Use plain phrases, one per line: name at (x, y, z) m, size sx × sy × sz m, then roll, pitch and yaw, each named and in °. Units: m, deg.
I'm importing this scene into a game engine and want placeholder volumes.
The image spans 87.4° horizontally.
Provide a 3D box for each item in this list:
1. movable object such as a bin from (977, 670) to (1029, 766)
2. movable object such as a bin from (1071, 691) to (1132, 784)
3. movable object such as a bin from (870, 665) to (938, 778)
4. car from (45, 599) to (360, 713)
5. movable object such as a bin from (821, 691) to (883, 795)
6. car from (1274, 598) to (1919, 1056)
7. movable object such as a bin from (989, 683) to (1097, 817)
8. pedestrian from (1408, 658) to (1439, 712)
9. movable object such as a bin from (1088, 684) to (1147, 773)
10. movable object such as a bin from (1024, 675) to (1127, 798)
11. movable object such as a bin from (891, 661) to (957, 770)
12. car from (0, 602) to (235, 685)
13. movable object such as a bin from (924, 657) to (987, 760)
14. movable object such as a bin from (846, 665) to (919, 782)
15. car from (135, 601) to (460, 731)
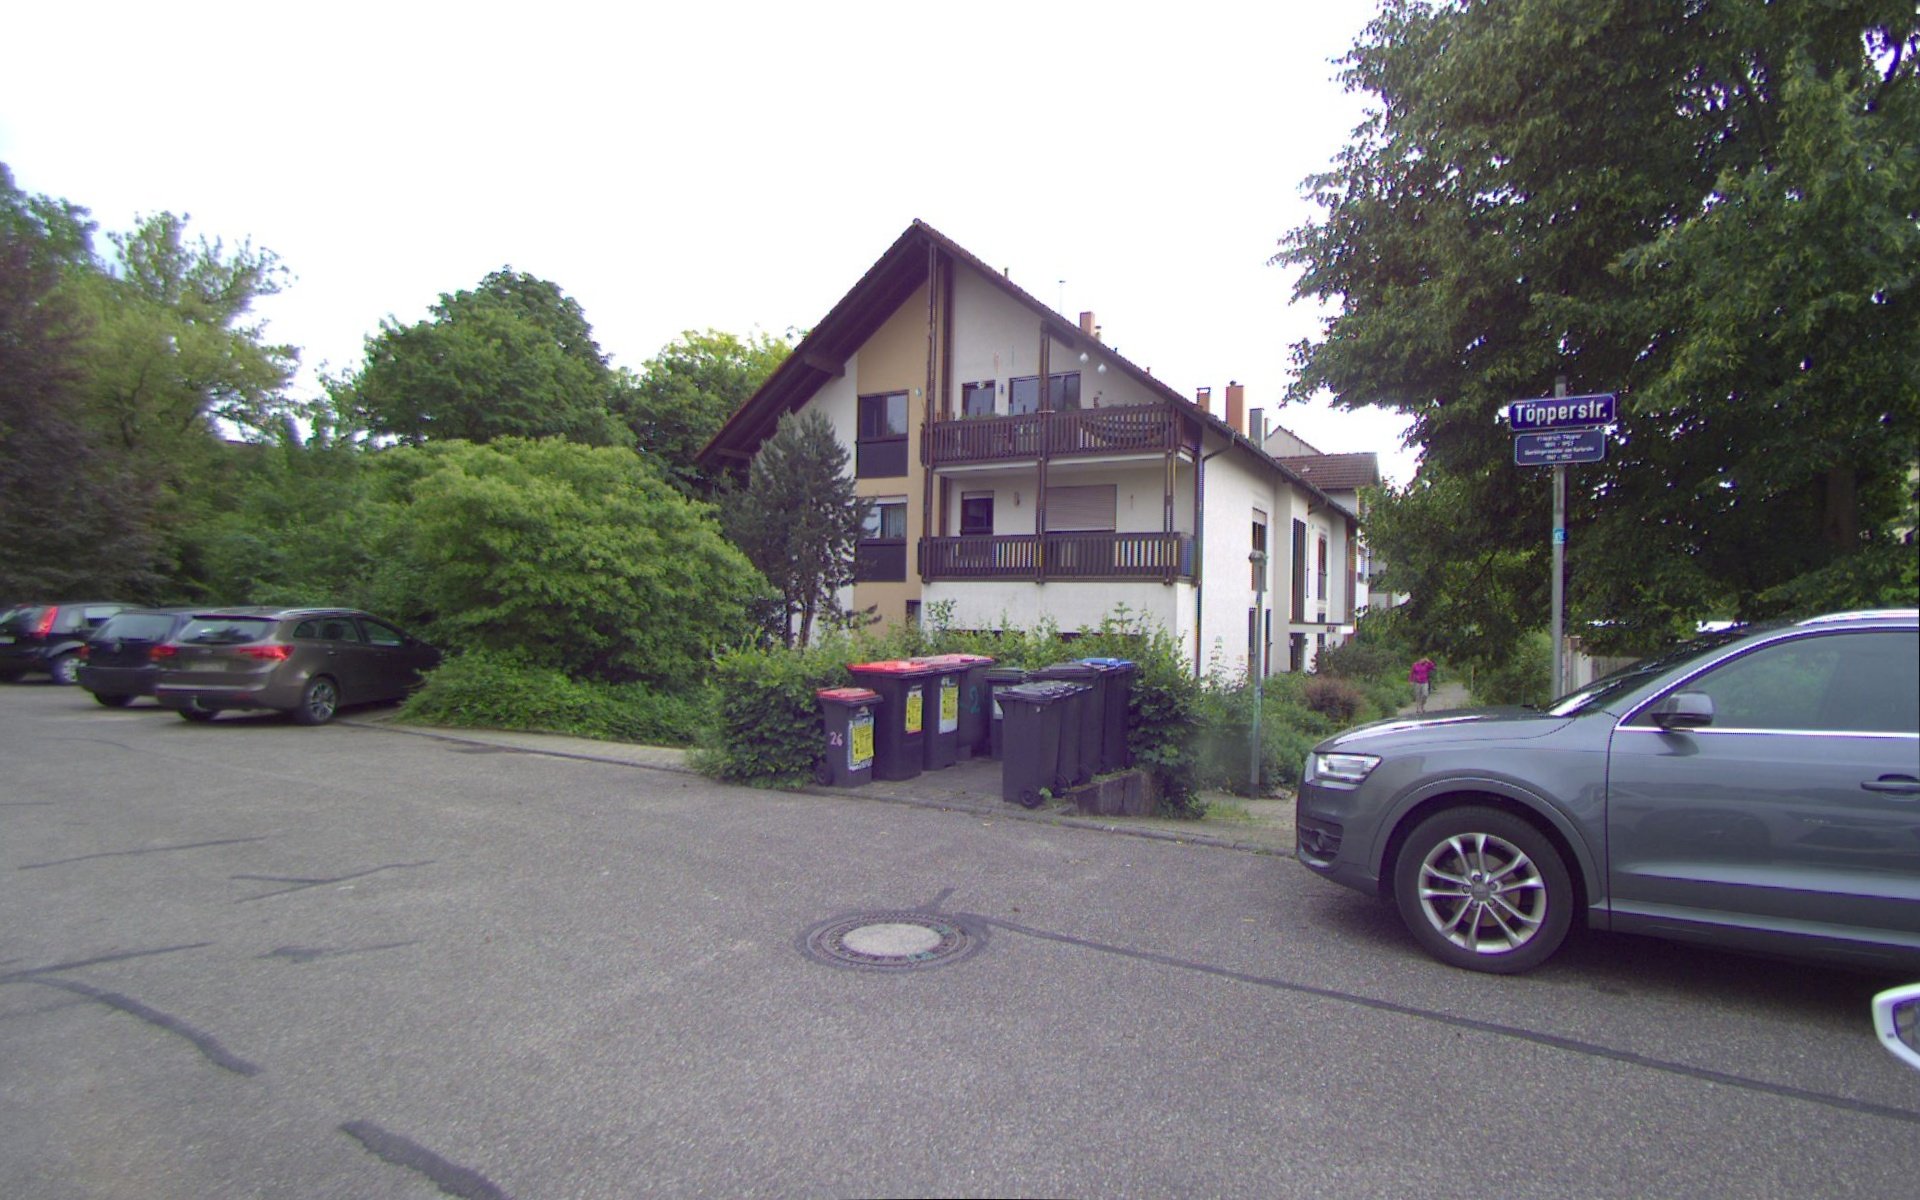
movable object such as a bin at (0.439, 1.183, 10.178) m, size 0.380 × 0.913 × 0.379 m, roll 2°, pitch 0°, yaw 27°
movable object such as a bin at (1.350, 1.295, 9.563) m, size 0.452 × 0.808 × 0.379 m, roll 2°, pitch 0°, yaw 29°
movable object such as a bin at (-0.532, 1.148, 9.598) m, size 0.529 × 1.007 × 0.337 m, roll 2°, pitch 0°, yaw 27°
car at (-11.558, 0.802, 15.725) m, size 1.667 × 1.510 × 4.002 m, roll 1°, pitch -1°, yaw 4°
movable object such as a bin at (-0.958, 1.261, 8.955) m, size 0.380 × 0.848 × 0.379 m, roll 2°, pitch 0°, yaw 27°
car at (3.668, 0.833, 4.267) m, size 4.174 × 1.551 × 1.745 m, roll 1°, pitch -3°, yaw 29°
movable object such as a bin at (0.693, 1.201, 8.267) m, size 0.628 × 0.966 × 0.722 m, roll 2°, pitch 0°, yaw 28°
pedestrian at (13.779, 2.523, 29.876) m, size 0.802 × 1.537 × 0.438 m, roll 0°, pitch -1°, yaw 27°
movable object such as a bin at (1.559, 1.264, 9.945) m, size 0.452 × 0.808 × 0.379 m, roll 2°, pitch 0°, yaw 29°
movable object such as a bin at (1.030, 1.182, 8.906) m, size 0.722 × 0.966 × 0.583 m, roll 2°, pitch 0°, yaw 29°
movable object such as a bin at (-0.354, 1.127, 9.917) m, size 0.529 × 1.007 × 0.337 m, roll 2°, pitch 0°, yaw 27°
car at (-16.196, 0.775, 19.131) m, size 1.667 × 1.393 × 4.002 m, roll 1°, pitch -1°, yaw 4°
movable object such as a bin at (-0.044, 1.110, 10.391) m, size 0.529 × 1.007 × 0.337 m, roll 2°, pitch 0°, yaw 27°
movable object such as a bin at (-0.712, 1.122, 9.272) m, size 0.529 × 1.007 × 0.379 m, roll 2°, pitch 0°, yaw 27°
car at (-8.961, 0.829, 14.060) m, size 1.667 × 1.510 × 4.002 m, roll 1°, pitch -1°, yaw 4°
